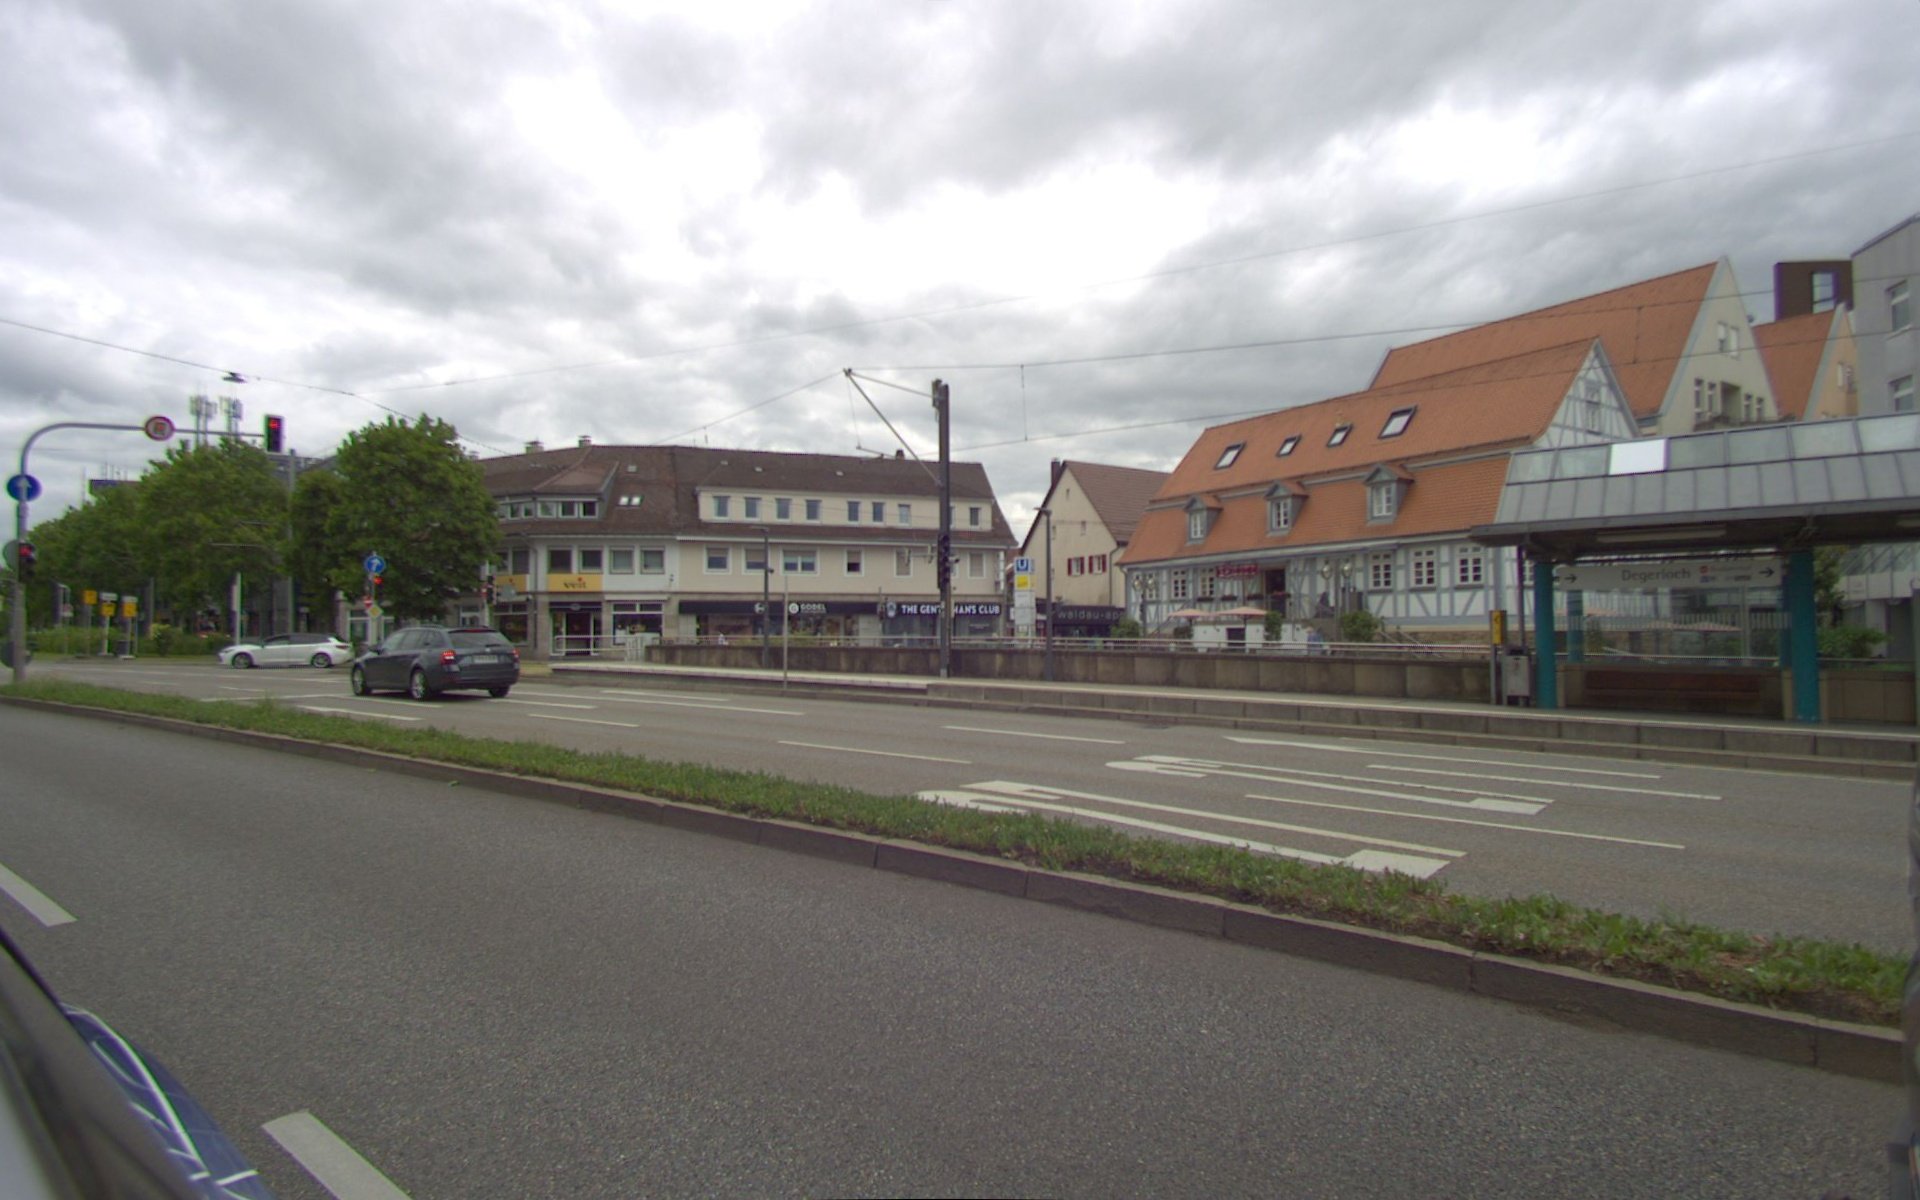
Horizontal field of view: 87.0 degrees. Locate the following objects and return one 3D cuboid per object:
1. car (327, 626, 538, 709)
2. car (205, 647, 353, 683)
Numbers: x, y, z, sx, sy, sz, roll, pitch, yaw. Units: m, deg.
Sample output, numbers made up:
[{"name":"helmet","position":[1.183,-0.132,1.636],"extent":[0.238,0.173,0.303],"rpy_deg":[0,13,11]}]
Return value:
[{"name":"car","position":[-10.862,1.327,20.736],"extent":[4.635,1.524,1.976],"rpy_deg":[-2,-3,36]},{"name":"car","position":[-27.649,2.608,41.276],"extent":[4.727,1.367,2.006],"rpy_deg":[1,-3,-25]}]
